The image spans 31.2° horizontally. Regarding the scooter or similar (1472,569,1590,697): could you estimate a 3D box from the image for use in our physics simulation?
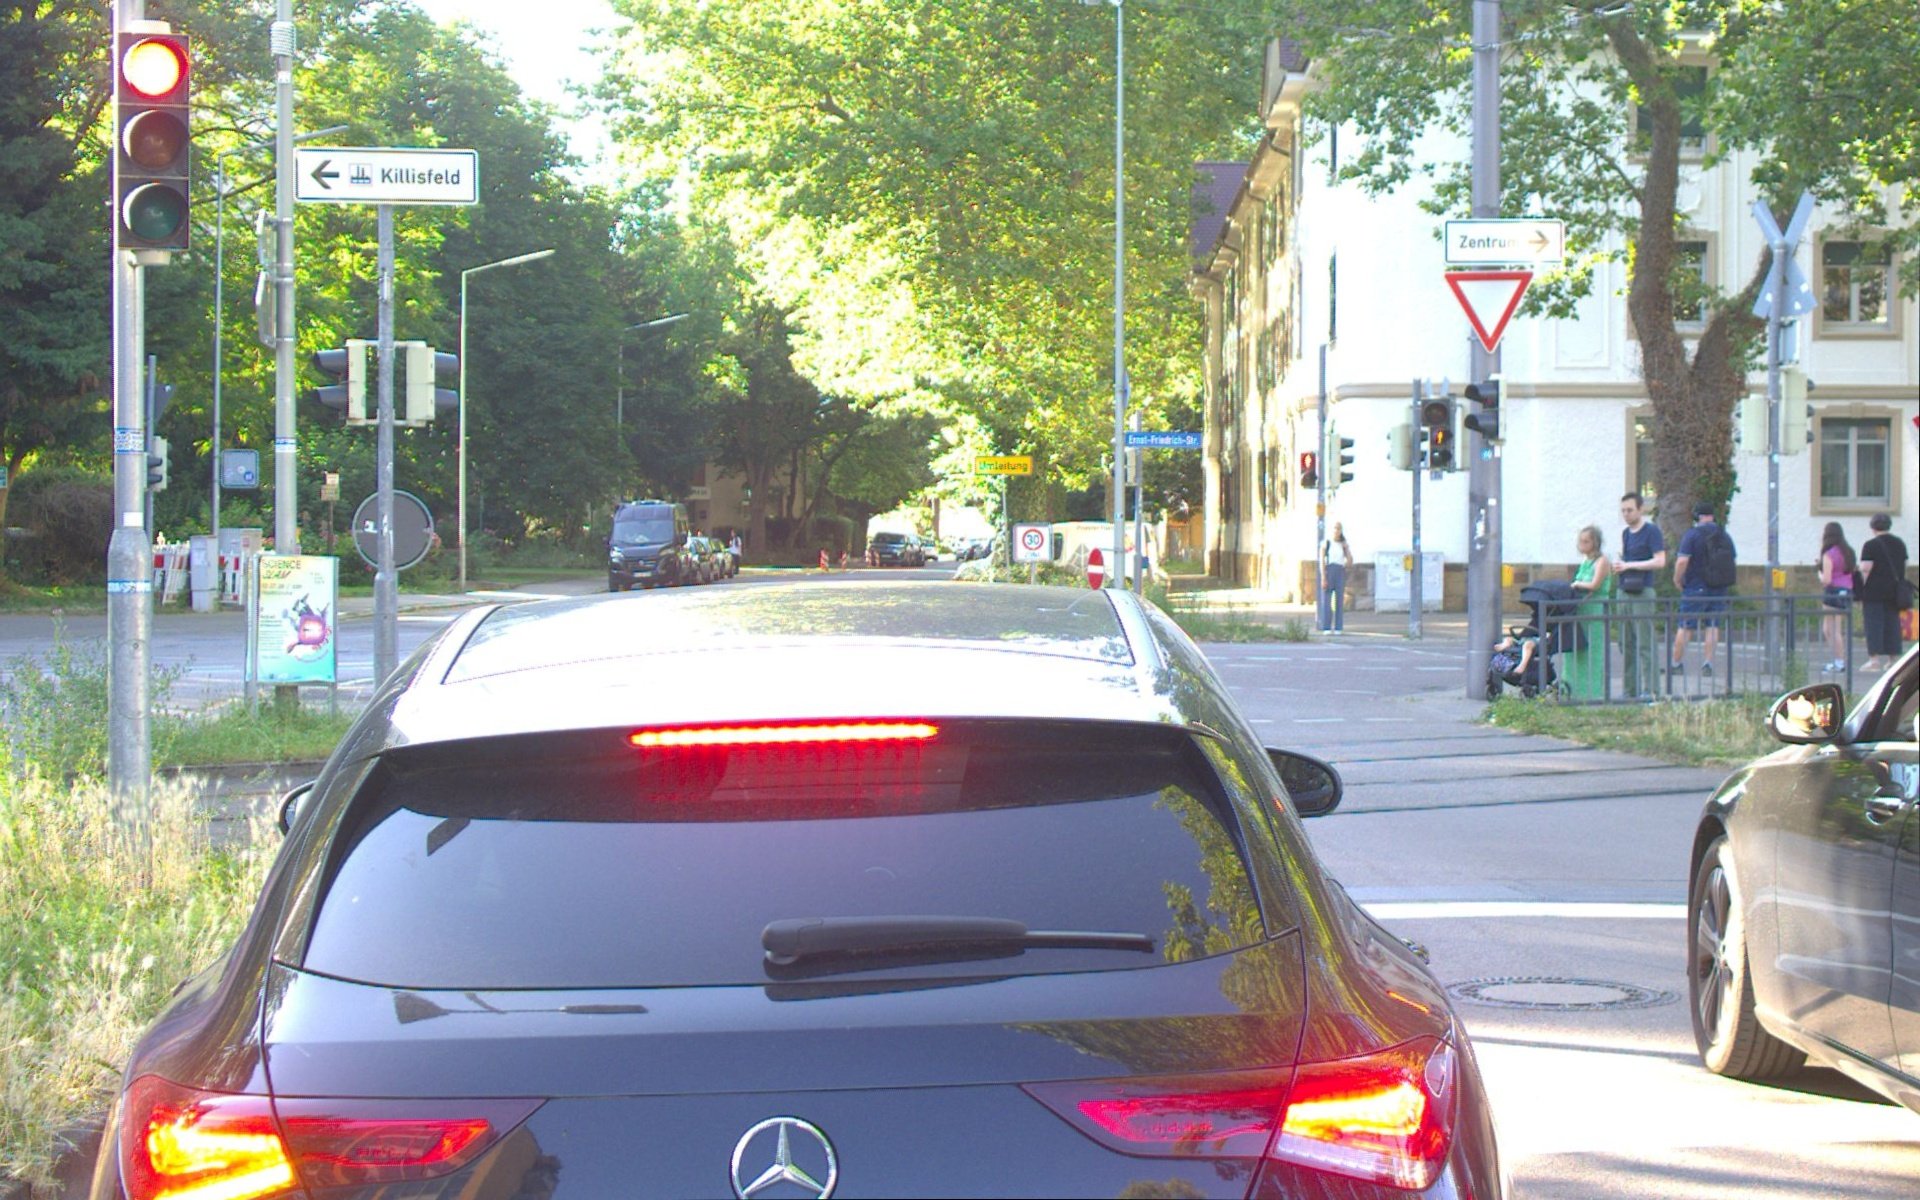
[{"bbox_3d":[5.030,0.283,30.318,0.828,1.101,0.809,1,0,-6],"label":"scooter or similar"}]

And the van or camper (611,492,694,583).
[{"bbox_3d":[-8.884,-1.794,99.740,1.993,2.532,4.651,1,1,0],"label":"van or camper"}]

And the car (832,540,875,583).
[{"bbox_3d":[-4.483,-1.634,145.564,1.733,1.759,4.019,1,1,-1],"label":"car"}]

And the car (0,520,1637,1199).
[{"bbox_3d":[-0.280,0.671,5.336,1.889,1.445,4.001,1,3,1],"label":"car"}]

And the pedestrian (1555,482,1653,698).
[{"bbox_3d":[5.783,-0.095,30.892,0.682,1.911,0.707,1,0,-4],"label":"pedestrian"}]

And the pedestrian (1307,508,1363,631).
[{"bbox_3d":[5.896,-0.481,54.045,0.705,1.911,0.839,1,0,-4],"label":"pedestrian"}]

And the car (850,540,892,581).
[{"bbox_3d":[-3.880,-1.735,150.385,1.733,1.759,4.019,1,1,-1],"label":"car"}]

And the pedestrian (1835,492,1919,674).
[{"bbox_3d":[9.832,-0.178,36.671,0.705,1.911,0.839,1,0,-4],"label":"pedestrian"}]

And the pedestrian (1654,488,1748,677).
[{"bbox_3d":[7.593,-0.180,35.254,0.705,1.911,0.839,1,0,-4],"label":"pedestrian"}]

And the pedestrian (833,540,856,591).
[{"bbox_3d":[-4.368,-1.313,130.028,0.705,1.911,0.839,1,0,-10],"label":"pedestrian"}]

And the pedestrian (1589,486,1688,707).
[{"bbox_3d":[5.941,-0.033,30.121,0.682,1.911,0.707,1,0,-2],"label":"pedestrian"}]

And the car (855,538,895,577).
[{"bbox_3d":[-3.902,-1.956,158.467,1.733,1.759,4.019,1,1,-1],"label":"car"}]

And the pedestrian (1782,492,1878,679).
[{"bbox_3d":[9.021,-0.150,35.671,0.705,1.911,0.839,1,0,-4],"label":"pedestrian"}]

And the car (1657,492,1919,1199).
[{"bbox_3d":[2.890,0.573,7.299,1.889,1.485,4.382,1,3,0],"label":"car"}]
